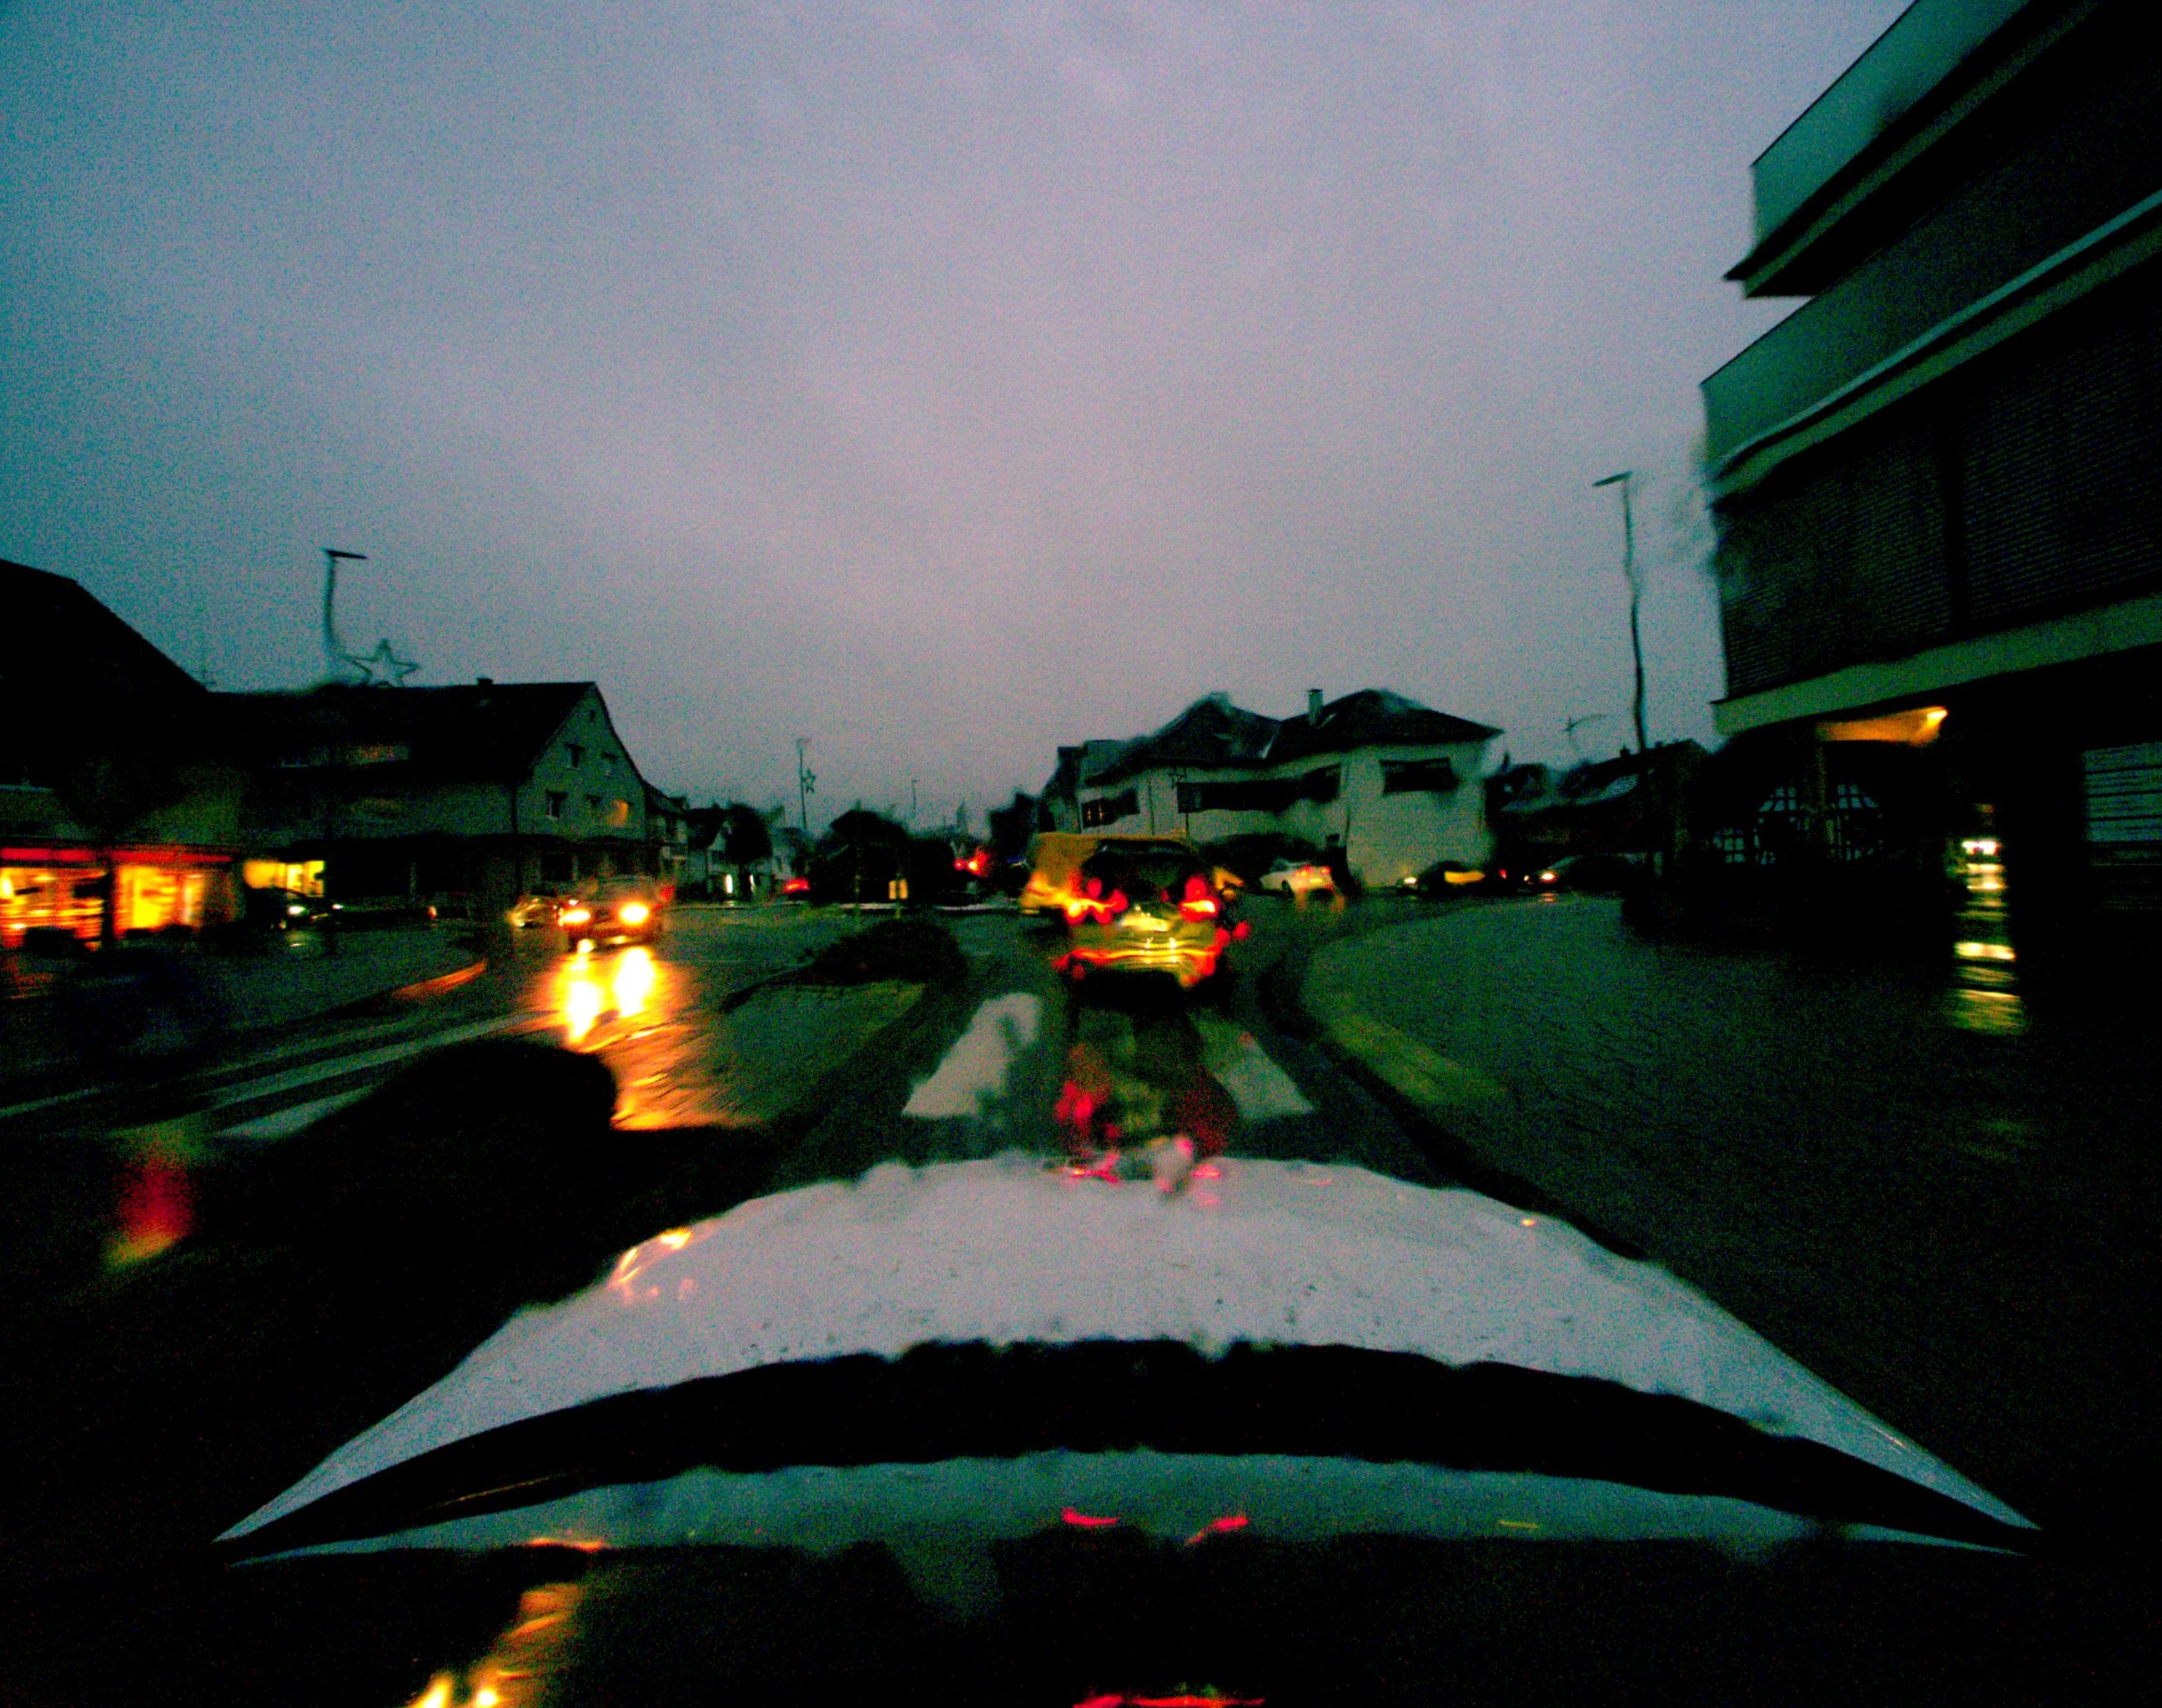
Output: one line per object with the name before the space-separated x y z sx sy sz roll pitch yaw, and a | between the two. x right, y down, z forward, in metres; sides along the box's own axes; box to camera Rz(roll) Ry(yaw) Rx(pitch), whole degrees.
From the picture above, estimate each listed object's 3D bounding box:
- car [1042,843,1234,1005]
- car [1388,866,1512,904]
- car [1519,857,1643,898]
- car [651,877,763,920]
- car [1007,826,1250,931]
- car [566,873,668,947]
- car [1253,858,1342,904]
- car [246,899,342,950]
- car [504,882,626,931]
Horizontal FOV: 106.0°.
car | 0.908 0.731 10.214 1.904 1.615 3.961 -2 0 10
car | 14.979 1.287 33.206 4.210 1.384 1.848 -1 -4 -3
car | 20.322 0.966 33.224 3.974 1.552 1.696 -1 -2 0
car | -16.260 1.915 35.582 4.049 1.662 1.701 -2 -1 -5
car | 0.978 0.486 17.712 4.889 2.014 1.991 -1 -1 -13
car | -10.182 1.163 18.067 1.510 1.411 3.340 -2 -1 -23
car | 7.901 0.948 30.069 1.777 1.539 3.921 -2 0 -8
car | -29.838 2.585 30.827 4.572 1.593 1.966 -1 0 38
car | -16.729 1.712 26.360 3.791 1.422 1.726 -4 -3 29
